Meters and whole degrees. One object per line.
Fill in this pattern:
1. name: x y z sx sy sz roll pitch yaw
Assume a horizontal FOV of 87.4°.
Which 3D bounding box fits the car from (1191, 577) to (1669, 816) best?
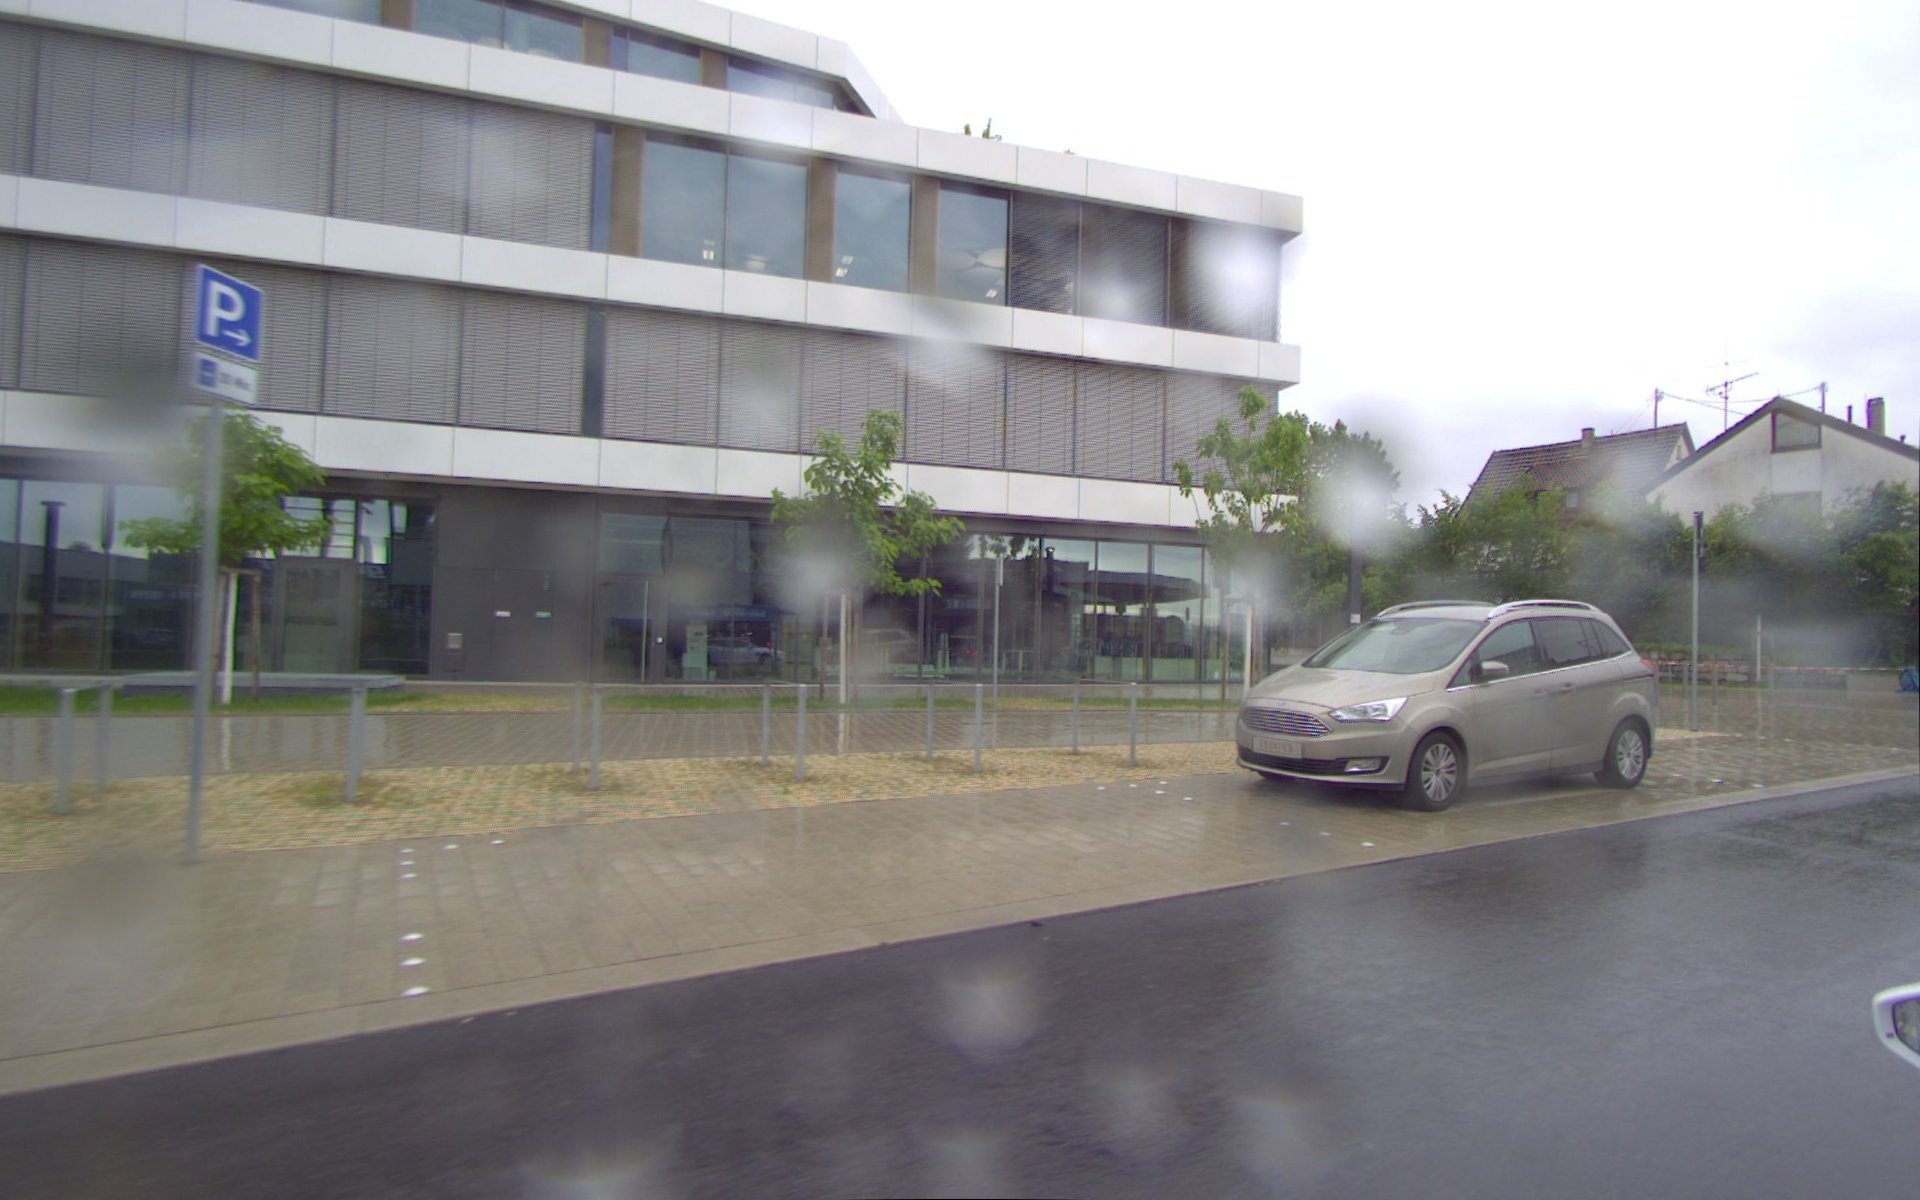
1. car: 4.344 0.777 9.142 4.272 1.728 1.829 2 -2 -30
